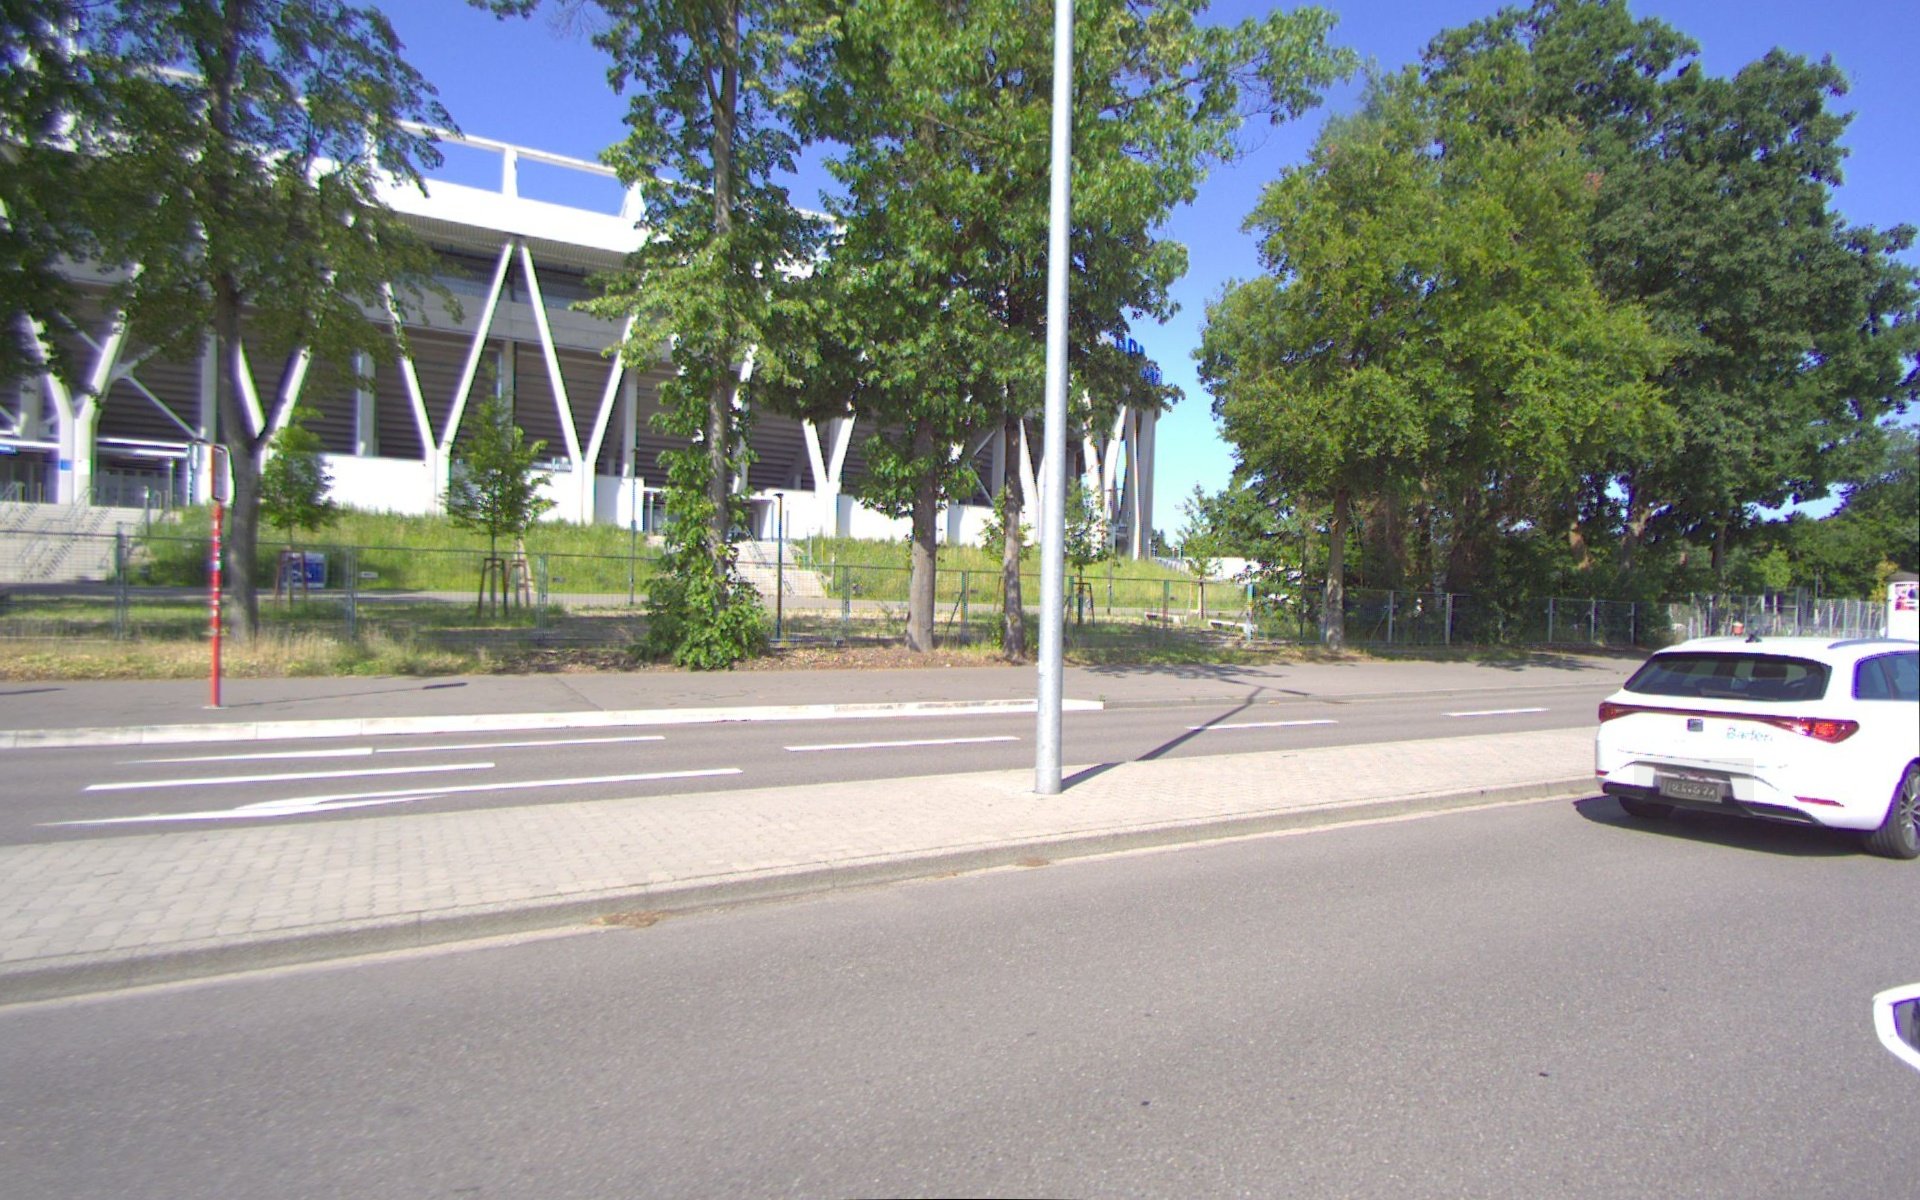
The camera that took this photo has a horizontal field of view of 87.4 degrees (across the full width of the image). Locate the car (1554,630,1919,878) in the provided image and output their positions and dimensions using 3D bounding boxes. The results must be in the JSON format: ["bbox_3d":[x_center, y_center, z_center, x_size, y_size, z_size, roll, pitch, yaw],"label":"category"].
[{"bbox_3d":[6.871,0.982,7.923,4.664,1.446,1.717,1,-1,-30],"label":"car"}]
